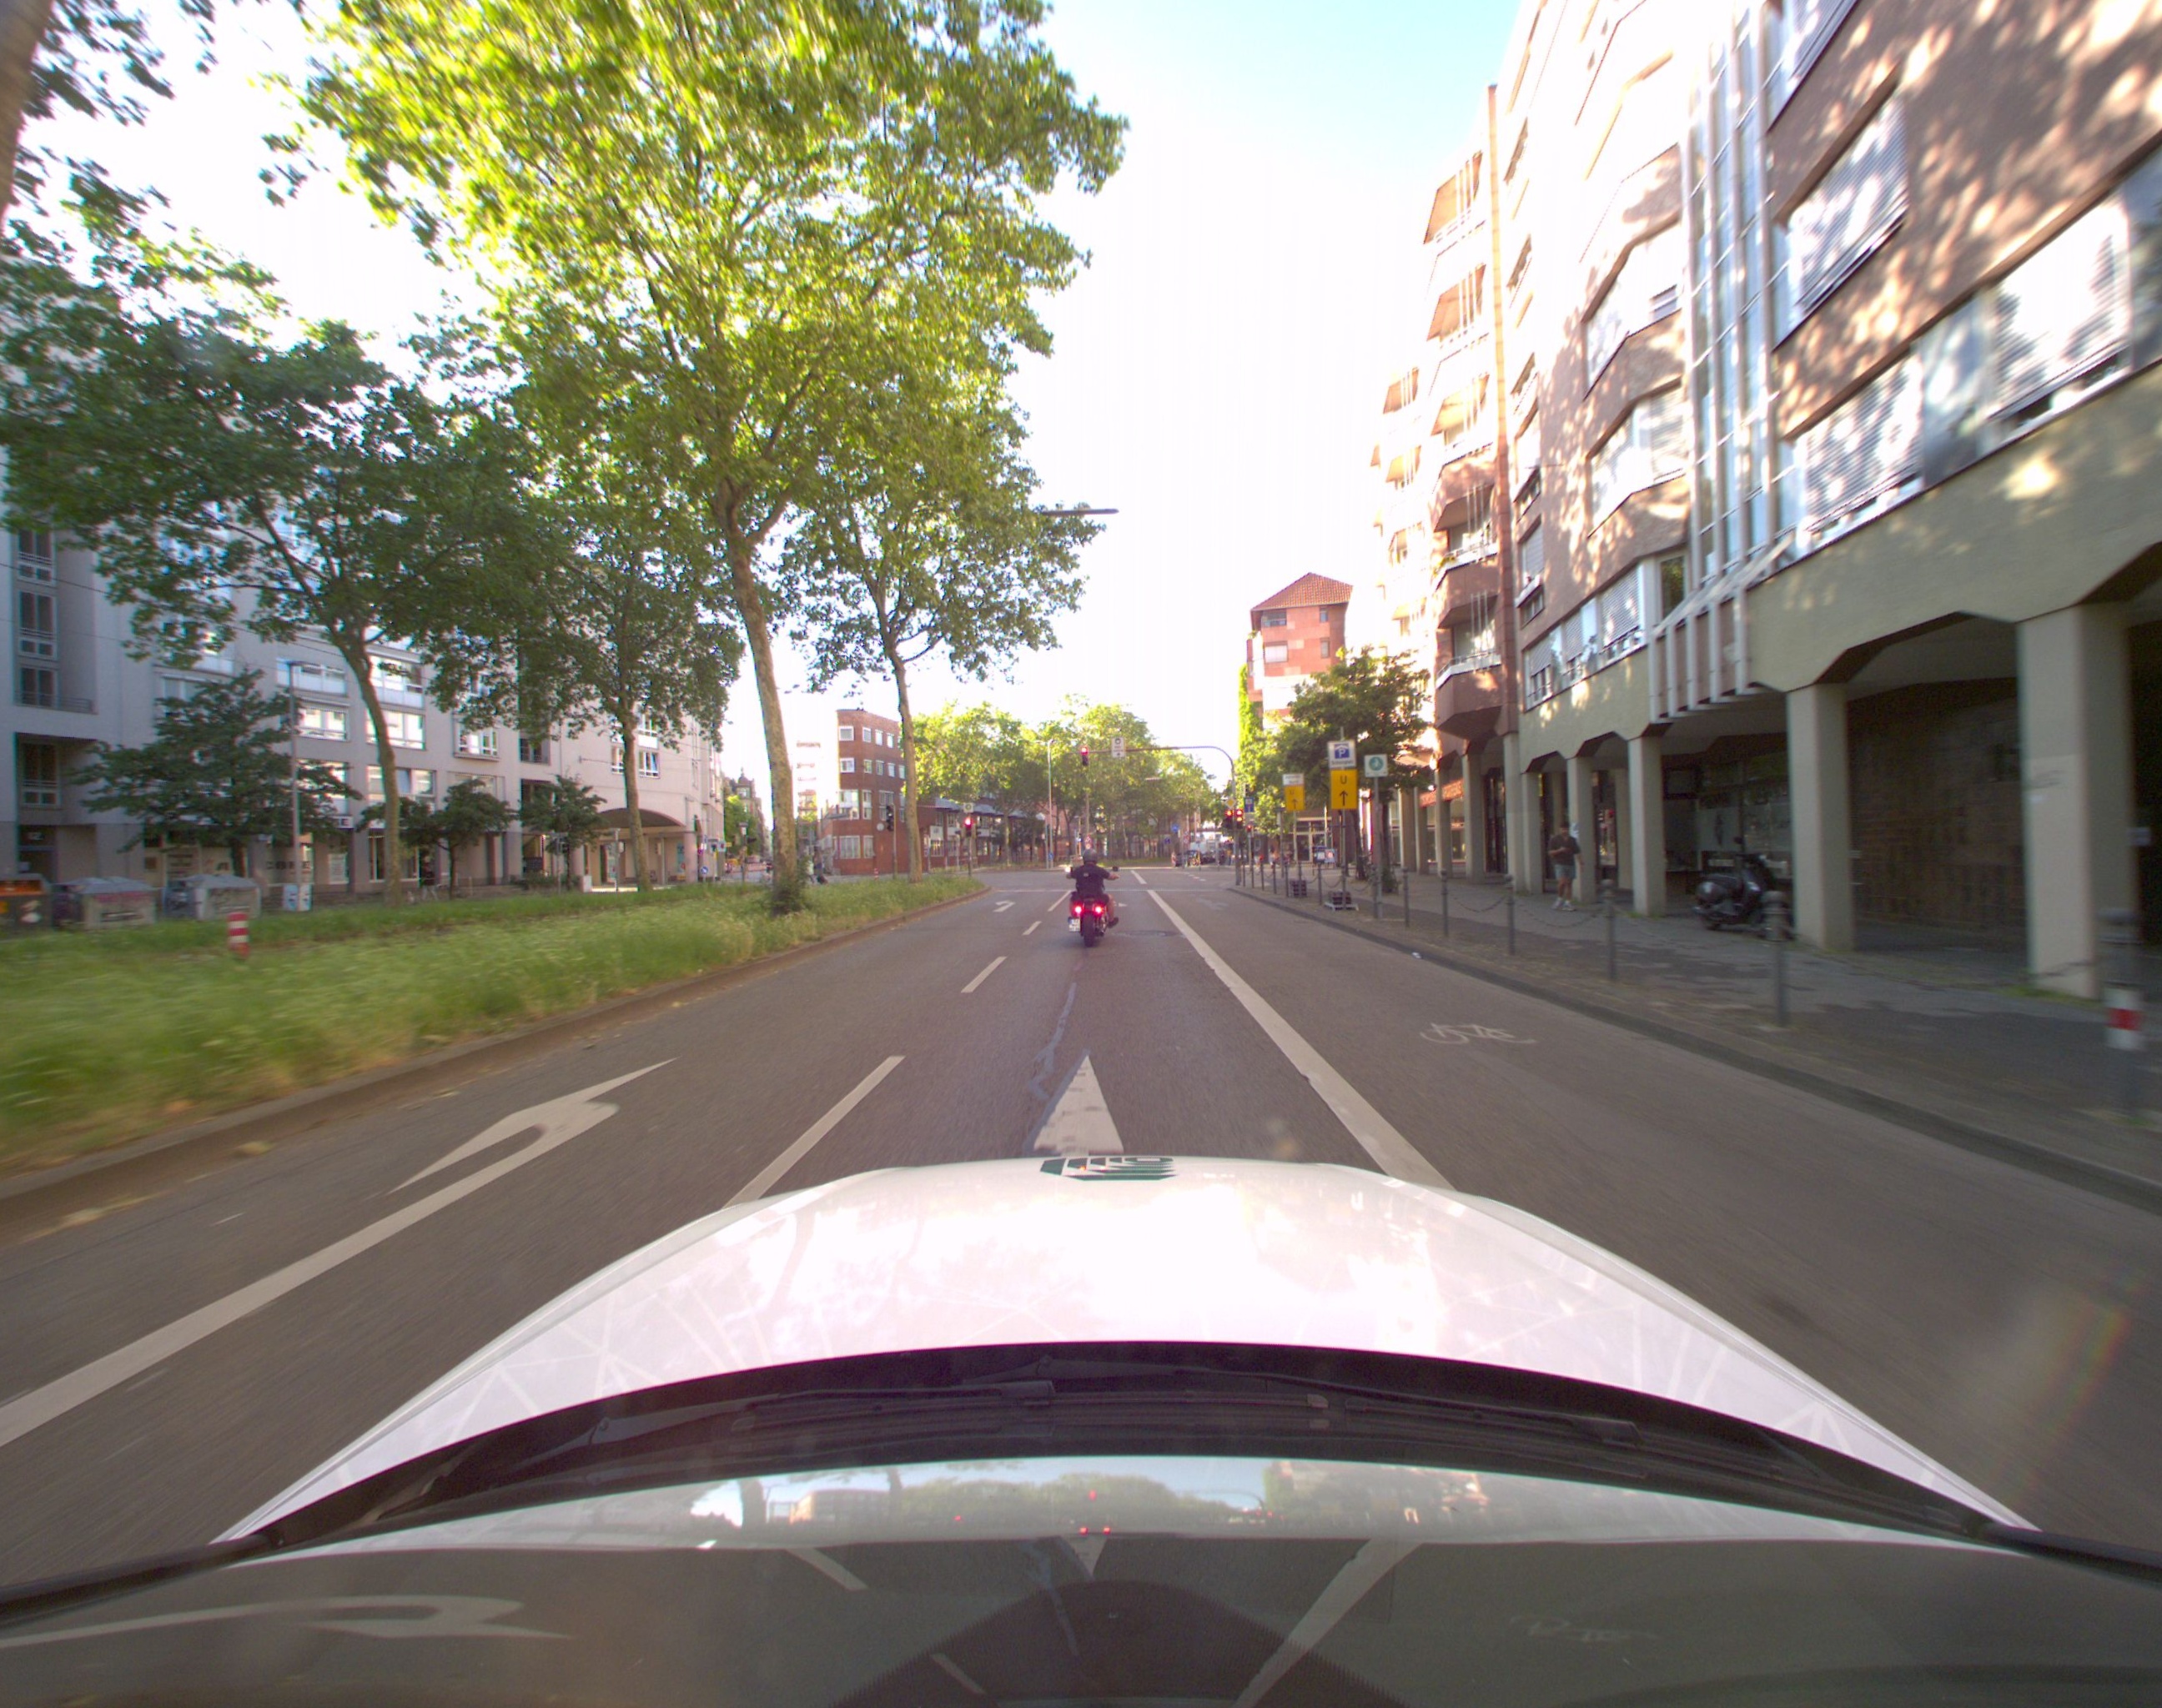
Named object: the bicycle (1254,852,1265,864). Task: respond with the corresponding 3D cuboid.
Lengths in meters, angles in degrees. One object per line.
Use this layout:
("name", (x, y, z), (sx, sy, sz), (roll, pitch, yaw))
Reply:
("bicycle", (15.289, 0.319, 69.780), (0.733, 0.939, 1.756), (-2, 0, 7))

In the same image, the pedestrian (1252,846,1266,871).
("pedestrian", (12.304, 0.309, 56.331), (0.782, 1.763, 0.611), (-2, 0, 5))

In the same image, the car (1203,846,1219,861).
("car", (17.792, -0.075, 111.410), (1.608, 1.865, 3.790), (-2, 0, 15))

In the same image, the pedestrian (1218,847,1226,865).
("pedestrian", (12.855, 0.160, 74.308), (0.641, 1.578, 0.749), (-2, 0, 6))

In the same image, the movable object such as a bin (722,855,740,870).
("movable object such as a bin", (-54.013, 1.301, 125.680), (1.928, 2.310, 2.777), (-2, 0, -12))

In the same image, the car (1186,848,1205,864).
("car", (12.289, 0.230, 87.484), (1.609, 1.619, 4.500), (-2, 0, 12))

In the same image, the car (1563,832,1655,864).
("car", (31.242, -0.371, 48.267), (4.158, 1.722, 1.807), (-2, 0, 11))

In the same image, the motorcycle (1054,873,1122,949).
("motorcycle", (0.160, 0.916, 13.649), (1.013, 1.097, 2.009), (-1, 0, 3))

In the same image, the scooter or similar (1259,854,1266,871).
("scooter or similar", (12.568, 0.590, 56.397), (0.392, 1.158, 1.252), (-2, 0, 9))

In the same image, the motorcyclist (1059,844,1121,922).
("motorcyclist", (0.168, 0.475, 13.732), (1.007, 1.263, 0.774), (0, 0, 3))

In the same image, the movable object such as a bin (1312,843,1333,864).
("movable object such as a bin", (17.370, -0.043, 58.602), (1.399, 1.482, 0.875), (-2, 0, 14))

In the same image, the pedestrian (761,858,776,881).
("pedestrian", (-26.714, 1.328, 69.551), (0.850, 1.869, 0.754), (-2, 0, 11))

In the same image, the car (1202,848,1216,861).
("car", (16.843, 0.028, 106.749), (1.610, 1.610, 3.786), (-2, 0, 11))

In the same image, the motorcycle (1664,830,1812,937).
("motorcycle", (9.213, 0.375, 11.538), (0.486, 1.372, 2.092), (-2, 0, 3))

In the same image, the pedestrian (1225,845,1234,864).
("pedestrian", (13.505, 0.057, 74.058), (0.696, 1.733, 0.769), (-2, 0, 6))

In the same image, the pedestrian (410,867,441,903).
("pedestrian", (-30.156, 1.418, 37.470), (0.702, 1.638, 0.791), (-2, 0, 14))

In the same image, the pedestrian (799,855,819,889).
("pedestrian", (-12.224, 0.803, 36.635), (0.614, 1.503, 0.536), (-2, 0, 14))

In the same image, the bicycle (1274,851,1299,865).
("bicycle", (16.262, 0.326, 64.328), (1.729, 1.053, 0.744), (-2, 0, 30))

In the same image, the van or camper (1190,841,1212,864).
("van or camper", (13.854, -0.213, 93.832), (2.034, 2.540, 5.793), (-2, 0, 13))

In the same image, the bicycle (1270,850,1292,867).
("bicycle", (15.083, 0.305, 61.411), (1.558, 1.227, 0.579), (-2, 0, 8))

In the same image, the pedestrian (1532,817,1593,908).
("pedestrian", (9.479, 0.164, 16.068), (0.776, 1.738, 0.839), (-2, 0, 11))

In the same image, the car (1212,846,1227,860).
("car", (20.010, -0.164, 117.813), (1.823, 2.013, 4.403), (-2, 0, 12))

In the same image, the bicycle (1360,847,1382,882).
("bicycle", (10.791, 0.377, 30.329), (0.617, 1.225, 1.934), (-2, 0, 15))

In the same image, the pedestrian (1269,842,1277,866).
("pedestrian", (13.243, -0.006, 56.206), (0.457, 1.672, 0.681), (-2, 0, 6))

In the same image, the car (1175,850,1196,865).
("car", (9.968, 0.298, 77.674), (1.609, 1.302, 4.325), (-2, 0, 11))

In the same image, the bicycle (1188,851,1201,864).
("bicycle", (9.821, 0.316, 70.667), (0.736, 1.053, 1.748), (-2, 0, -6))

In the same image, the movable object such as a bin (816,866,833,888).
("movable object such as a bin", (-11.605, 1.053, 36.834), (0.506, 0.953, 0.542), (-2, 0, 16))
